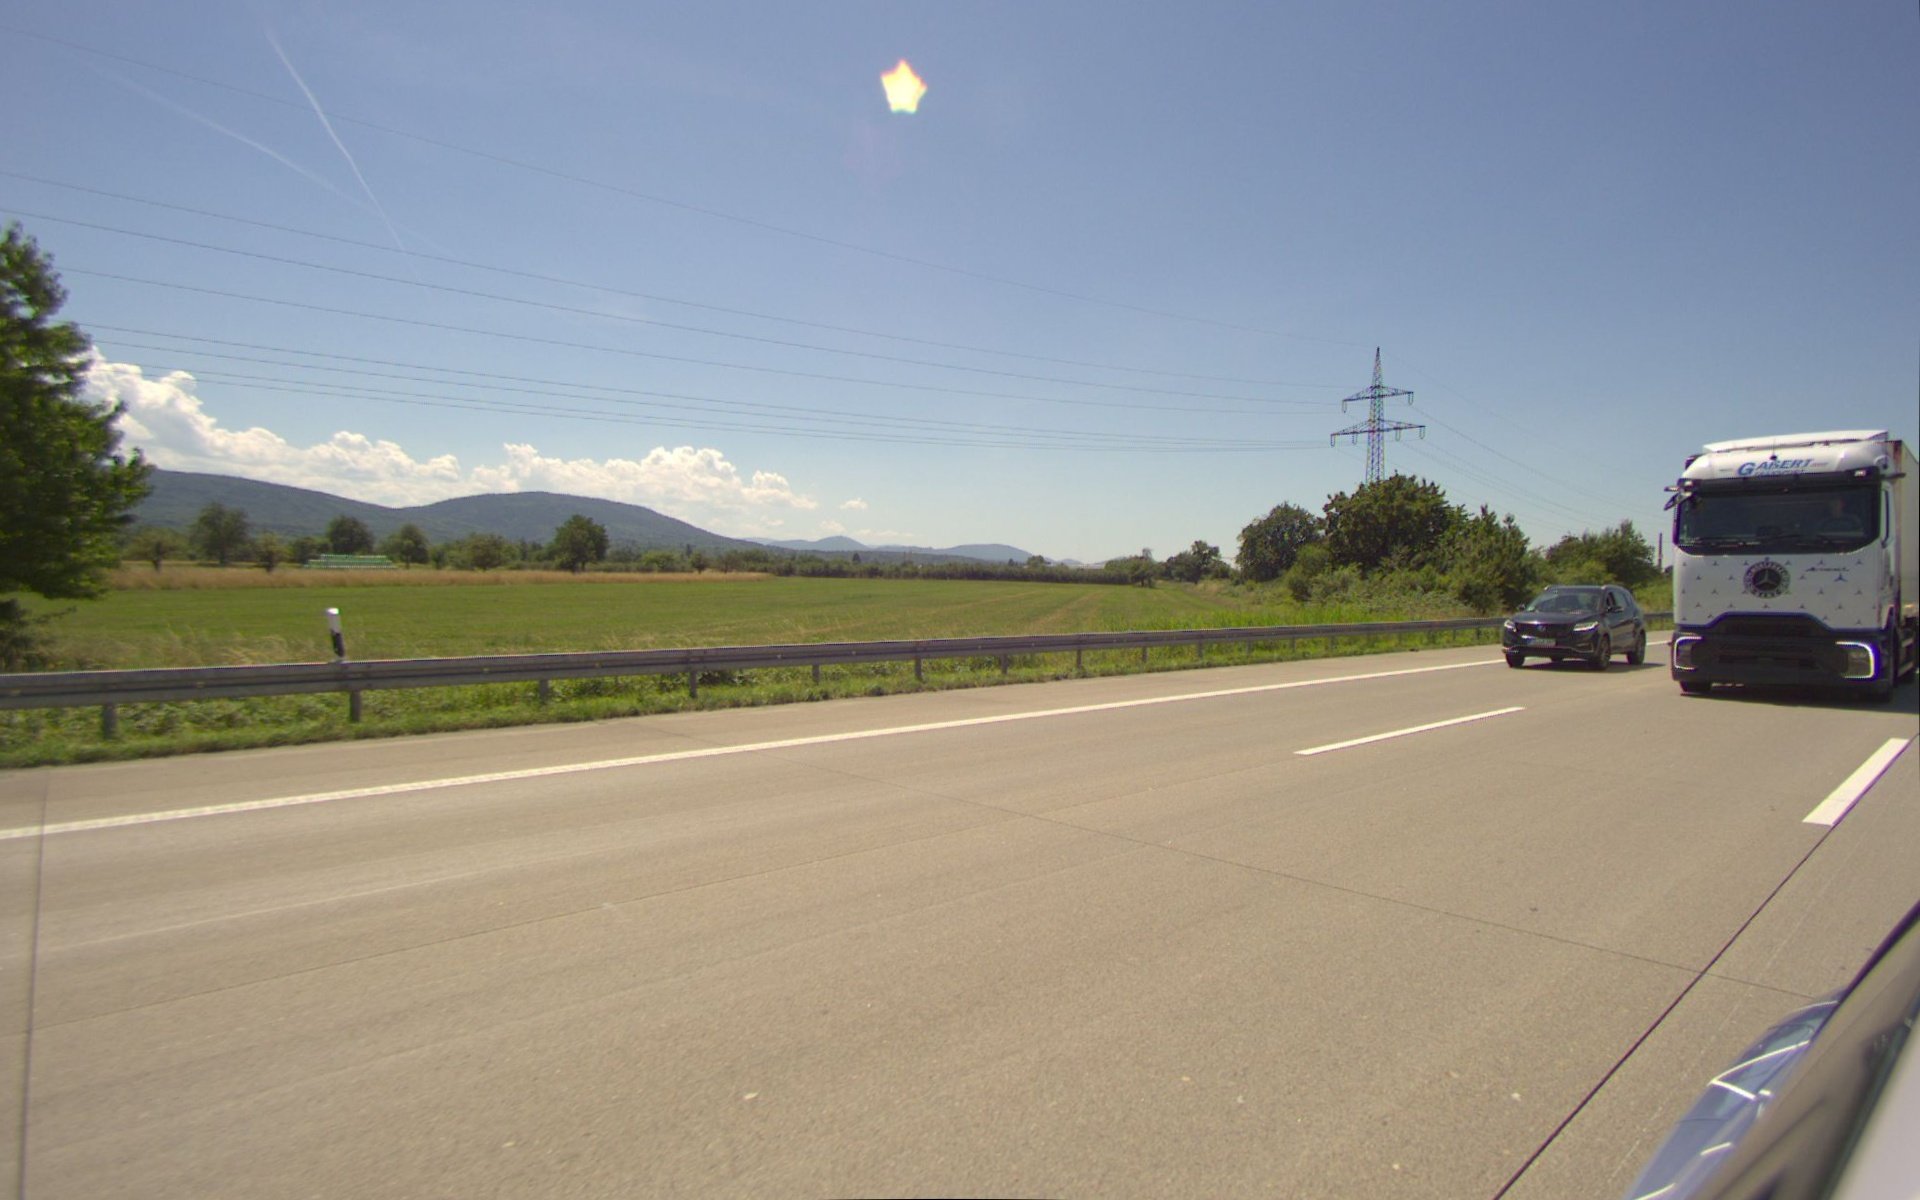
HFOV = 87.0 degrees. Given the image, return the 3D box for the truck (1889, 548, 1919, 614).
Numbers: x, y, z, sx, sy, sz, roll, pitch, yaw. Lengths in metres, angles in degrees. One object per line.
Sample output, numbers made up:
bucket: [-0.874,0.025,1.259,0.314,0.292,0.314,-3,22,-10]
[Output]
truck: [63.621,-1.244,67.445,5.609,4.246,1.996,0,0,-43]

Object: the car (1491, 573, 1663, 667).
car: [13.140,0.378,21.477,3.930,1.805,1.997,0,0,-40]

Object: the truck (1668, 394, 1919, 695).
truck: [13.245,-0.743,15.847,4.900,3.927,2.583,0,0,-43]

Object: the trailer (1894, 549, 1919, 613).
trailer: [68.774,-1.280,72.193,14.495,4.246,1.996,0,0,-43]

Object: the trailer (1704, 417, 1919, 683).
trailer: [16.976,-0.769,19.390,10.199,3.927,2.583,0,0,-43]
